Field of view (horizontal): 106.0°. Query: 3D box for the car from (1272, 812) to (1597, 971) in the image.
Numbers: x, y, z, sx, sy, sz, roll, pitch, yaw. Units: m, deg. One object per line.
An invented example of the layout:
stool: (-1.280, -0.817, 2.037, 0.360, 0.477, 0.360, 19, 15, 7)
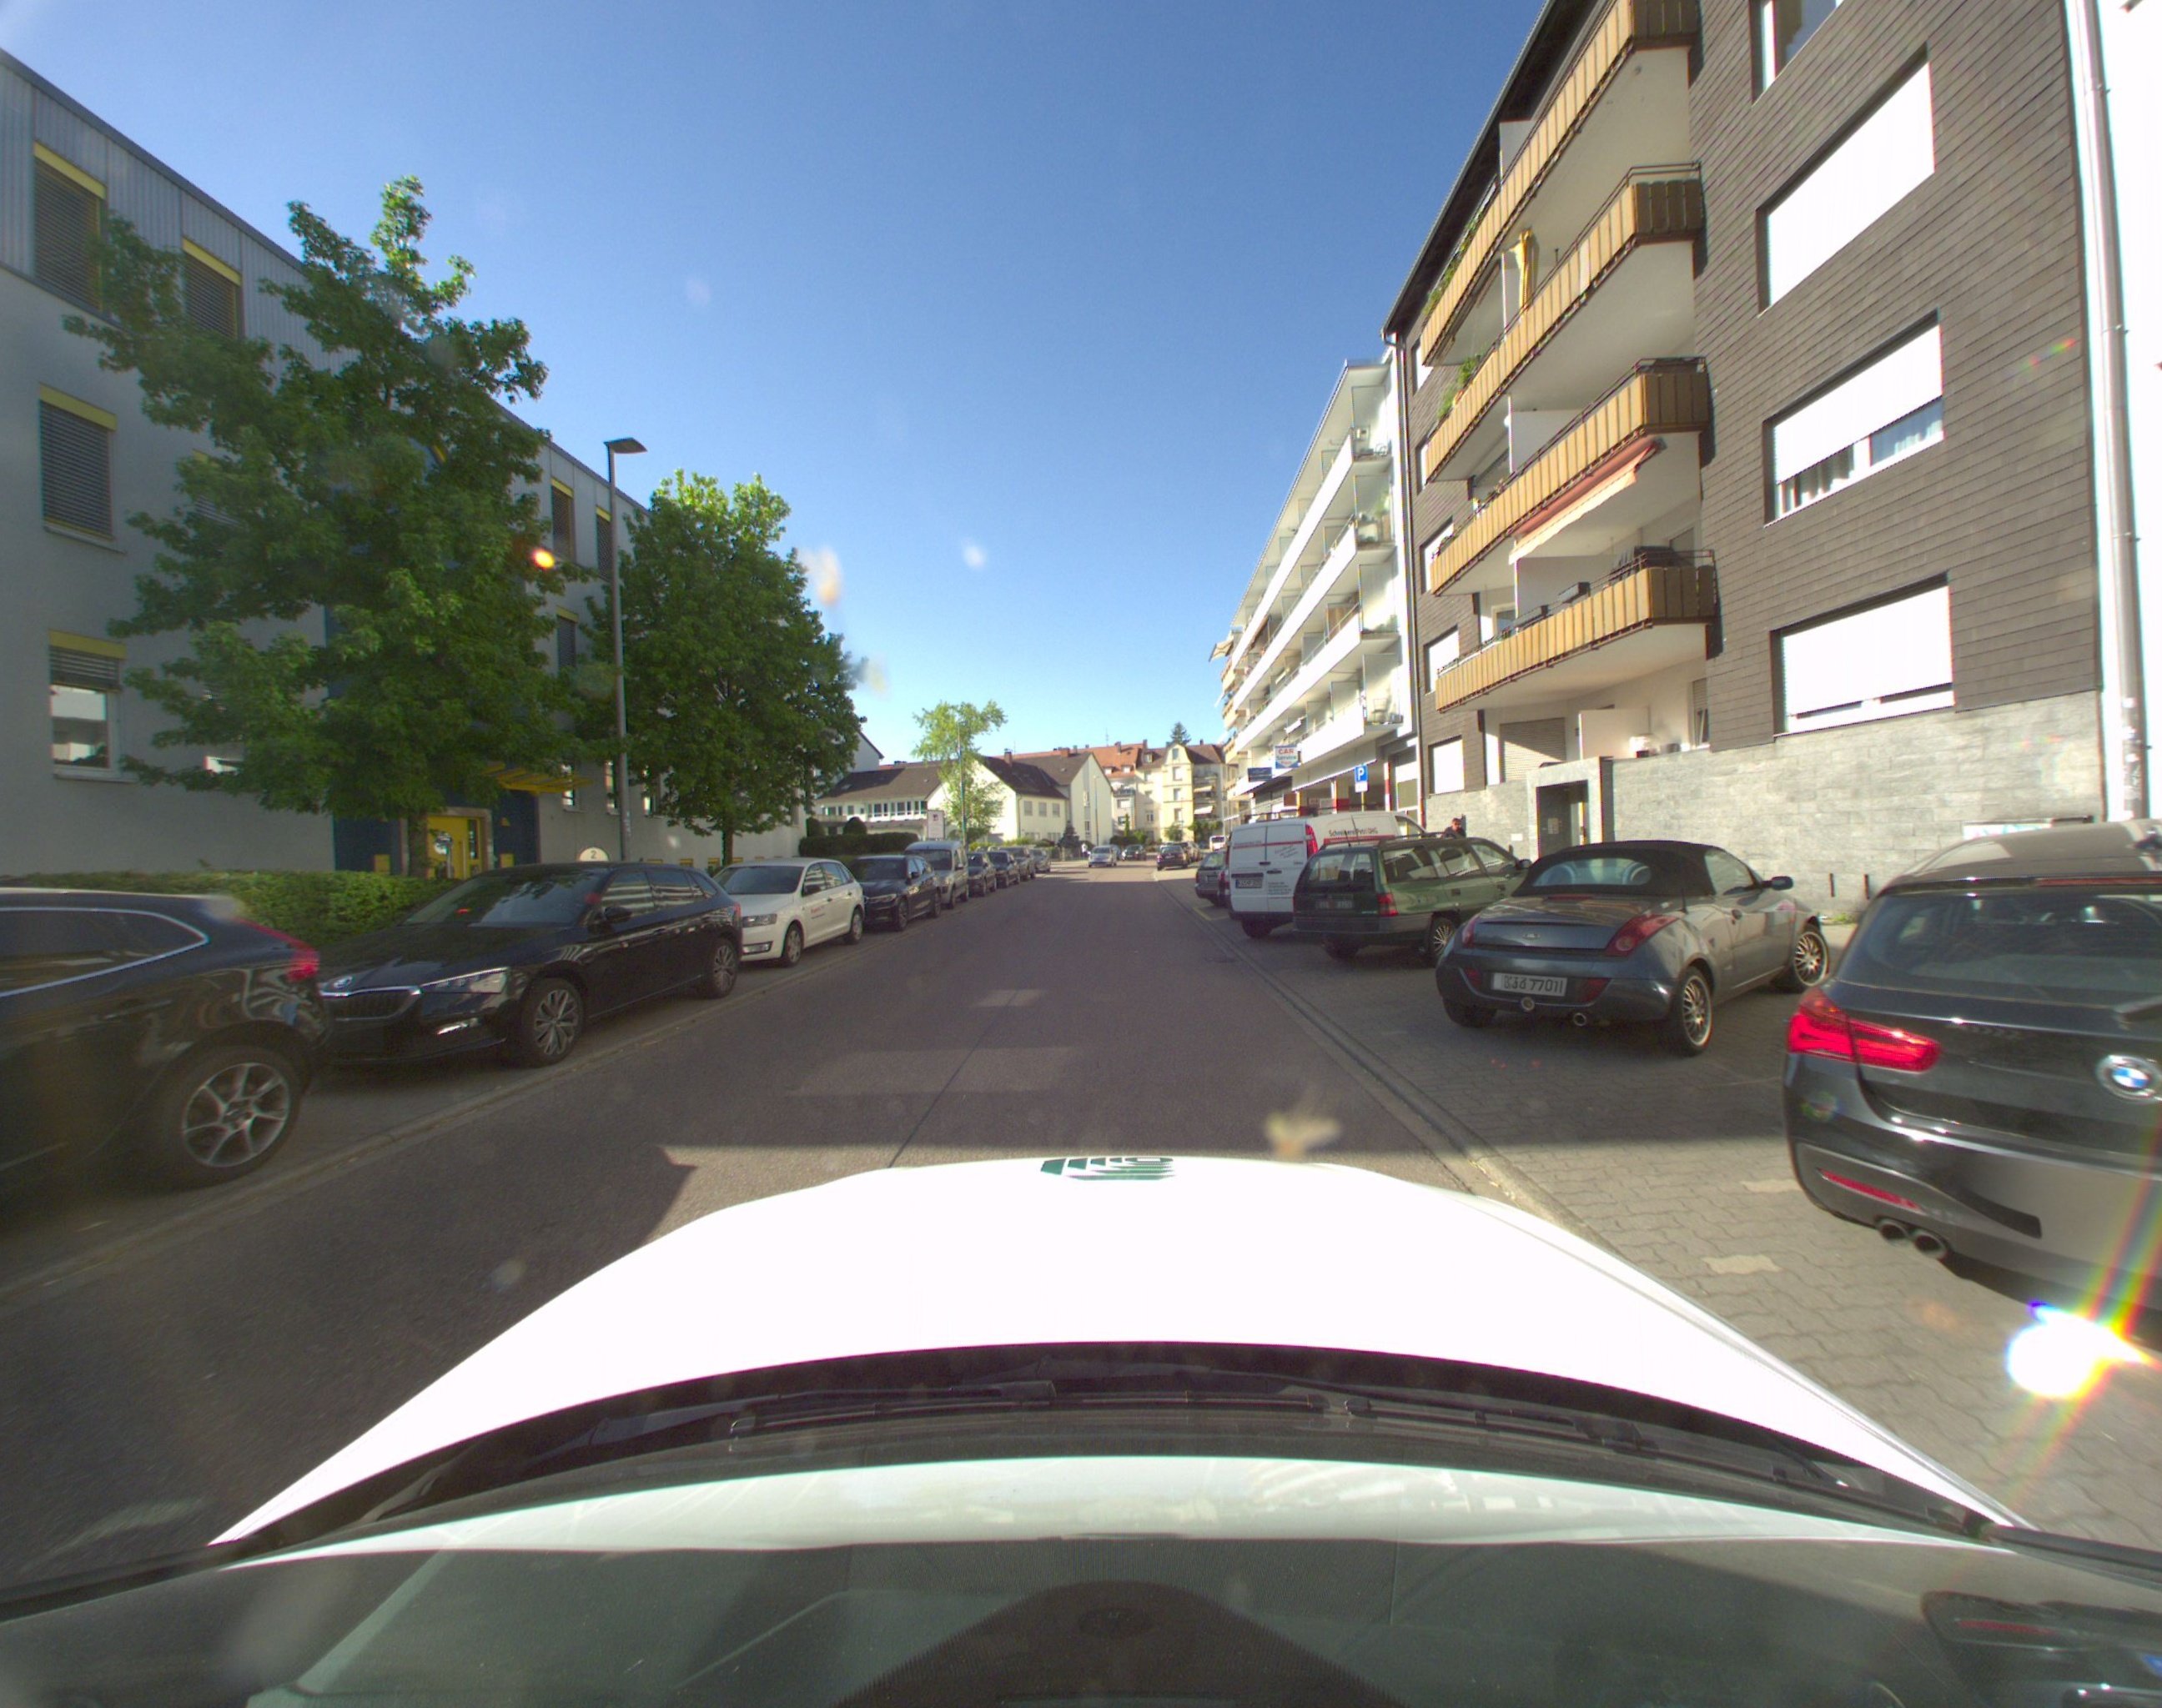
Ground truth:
car: (4.548, 0.389, 10.339, 4.009, 1.489, 1.601, -5, -1, -30)

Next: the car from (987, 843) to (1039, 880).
car: (-3.141, 0.311, 38.552, 1.712, 1.586, 4.426, -2, 1, 4)

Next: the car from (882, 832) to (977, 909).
car: (-4.049, 0.375, 22.447, 1.682, 1.838, 4.341, -2, 1, 0)

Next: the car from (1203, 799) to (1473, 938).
car: (4.447, 0.176, 13.776, 4.553, 1.898, 2.026, -5, -1, -39)

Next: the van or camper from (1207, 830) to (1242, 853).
van or camper: (13.799, -1.226, 78.192, 2.002, 1.947, 4.731, -4, 0, 25)

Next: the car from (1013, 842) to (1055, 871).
car: (-2.721, 0.122, 48.368, 1.986, 1.534, 4.921, -2, 1, 2)

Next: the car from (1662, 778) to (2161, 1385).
car: (4.354, 0.495, 3.227, 4.186, 1.497, 1.804, -2, -1, -32)

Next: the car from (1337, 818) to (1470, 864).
car: (12.515, -0.496, 31.804, 4.374, 1.512, 1.980, -3, 0, 2)

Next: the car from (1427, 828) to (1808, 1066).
car: (4.430, 0.538, 6.570, 3.413, 1.388, 1.522, -2, 0, -38)

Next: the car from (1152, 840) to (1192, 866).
car: (5.528, -0.075, 49.123, 1.958, 1.450, 5.018, -2, 0, 10)

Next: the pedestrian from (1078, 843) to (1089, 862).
pedestrian: (0.262, -0.126, 76.280, 0.676, 1.703, 0.829, -3, -2, 24)

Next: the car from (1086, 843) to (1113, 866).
car: (1.388, 0.007, 59.714, 1.718, 1.485, 4.111, -2, 1, 4)

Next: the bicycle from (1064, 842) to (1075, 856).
bicycle: (-1.101, -0.470, 77.827, 0.453, 1.250, 1.935, -2, -2, 15)

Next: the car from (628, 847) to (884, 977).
car: (-4.562, 0.712, 12.354, 1.901, 1.530, 4.625, -2, 0, 1)

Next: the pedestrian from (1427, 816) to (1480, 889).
pedestrian: (8.598, -0.037, 18.824, 0.828, 1.593, 0.891, -3, 0, 7)

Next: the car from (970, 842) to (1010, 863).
car: (-7.386, -0.090, 66.225, 1.783, 1.556, 3.207, -3, -2, 26)

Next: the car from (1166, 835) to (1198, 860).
car: (7.520, -0.457, 60.440, 1.805, 1.653, 4.575, -2, -2, 13)

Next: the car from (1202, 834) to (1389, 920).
car: (4.678, 0.429, 17.421, 4.352, 1.512, 1.735, -3, 0, -43)

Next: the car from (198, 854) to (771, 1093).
car: (-4.692, 0.773, 7.452, 1.901, 1.479, 4.381, -2, 0, 1)

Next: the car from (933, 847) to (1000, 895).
car: (-3.736, 0.498, 27.221, 1.593, 1.440, 4.000, -2, 1, 0)

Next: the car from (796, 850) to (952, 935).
car: (-4.129, 0.684, 17.062, 1.725, 1.439, 4.617, -2, 1, 4)

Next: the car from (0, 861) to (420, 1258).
car: (-4.853, 0.795, 2.692, 1.782, 1.410, 4.224, -2, 1, 1)

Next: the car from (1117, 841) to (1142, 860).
car: (4.384, -0.274, 72.692, 1.729, 1.513, 3.741, -2, -2, 11)

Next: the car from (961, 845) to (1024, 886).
car: (-3.456, 0.400, 32.645, 1.718, 1.465, 4.444, -2, 1, 4)

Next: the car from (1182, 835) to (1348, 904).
car: (4.856, 0.362, 21.103, 4.672, 1.466, 1.671, -3, -1, -40)
